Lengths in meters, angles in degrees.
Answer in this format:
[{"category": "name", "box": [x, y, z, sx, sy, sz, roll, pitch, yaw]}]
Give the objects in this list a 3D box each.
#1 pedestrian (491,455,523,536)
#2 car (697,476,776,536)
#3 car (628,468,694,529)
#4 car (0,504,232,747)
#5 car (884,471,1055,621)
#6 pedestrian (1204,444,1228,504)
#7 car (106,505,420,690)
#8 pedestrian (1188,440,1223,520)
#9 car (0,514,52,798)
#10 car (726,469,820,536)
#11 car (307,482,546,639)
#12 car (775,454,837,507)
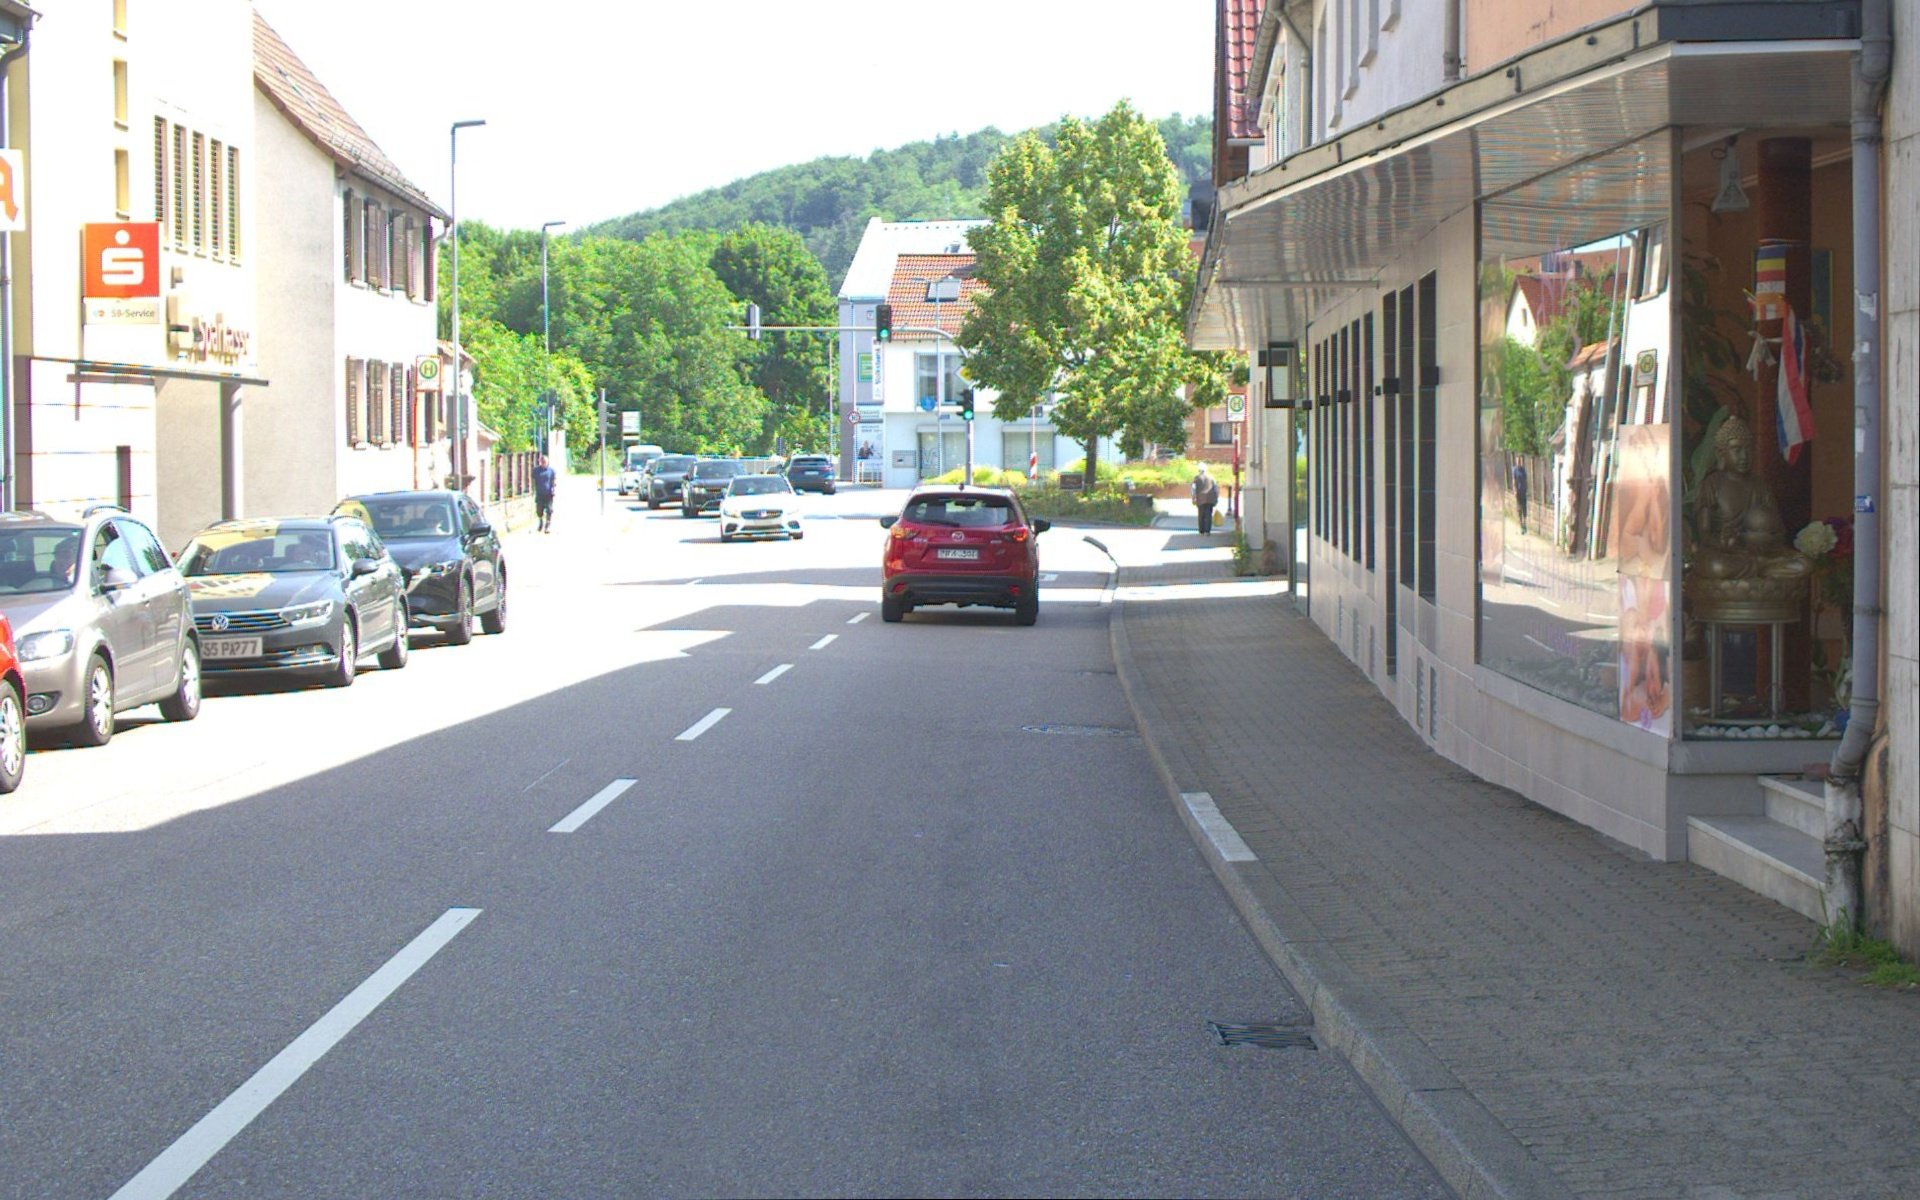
[{"category": "pedestrian", "box": [-10.414, -2.401, 79.119, 0.665, 1.818, 0.799, -1, 0, -5]}, {"category": "car", "box": [-6.299, -2.689, 97.383, 1.839, 1.527, 4.253, -1, 4, 1]}, {"category": "car", "box": [-9.474, -3.202, 109.043, 1.774, 1.778, 3.839, -1, 0, 0]}, {"category": "car", "box": [-6.309, 0.121, 23.763, 1.629, 1.515, 4.020, -2, 2, 1]}, {"category": "car", "box": [0.173, -0.694, 41.795, 1.859, 1.709, 4.422, 1, 2, 3]}, {"category": "pedestrian", "box": [8.082, -3.982, 108.615, 0.642, 1.872, 0.652, -1, 0, -5]}, {"category": "car", "box": [-6.014, -0.080, 30.163, 1.789, 1.445, 4.424, -2, 2, 1]}, {"category": "pedestrian", "box": [5.361, -2.610, 74.986, 0.642, 1.701, 0.700, -1, 0, -5]}, {"category": "car", "box": [-5.928, 0.348, 17.102, 1.758, 1.487, 4.077, -2, 2, -1]}, {"category": "car", "box": [-4.255, -2.202, 77.609, 1.987, 1.439, 5.102, -1, 2, -4]}, {"category": "car", "box": [-5.841, -0.481, 38.157, 1.867, 1.584, 4.518, -2, 2, 1]}, {"category": "car", "box": [-5.653, -4.400, 126.600, 1.932, 1.788, 3.956, -1, 0, 2]}]
